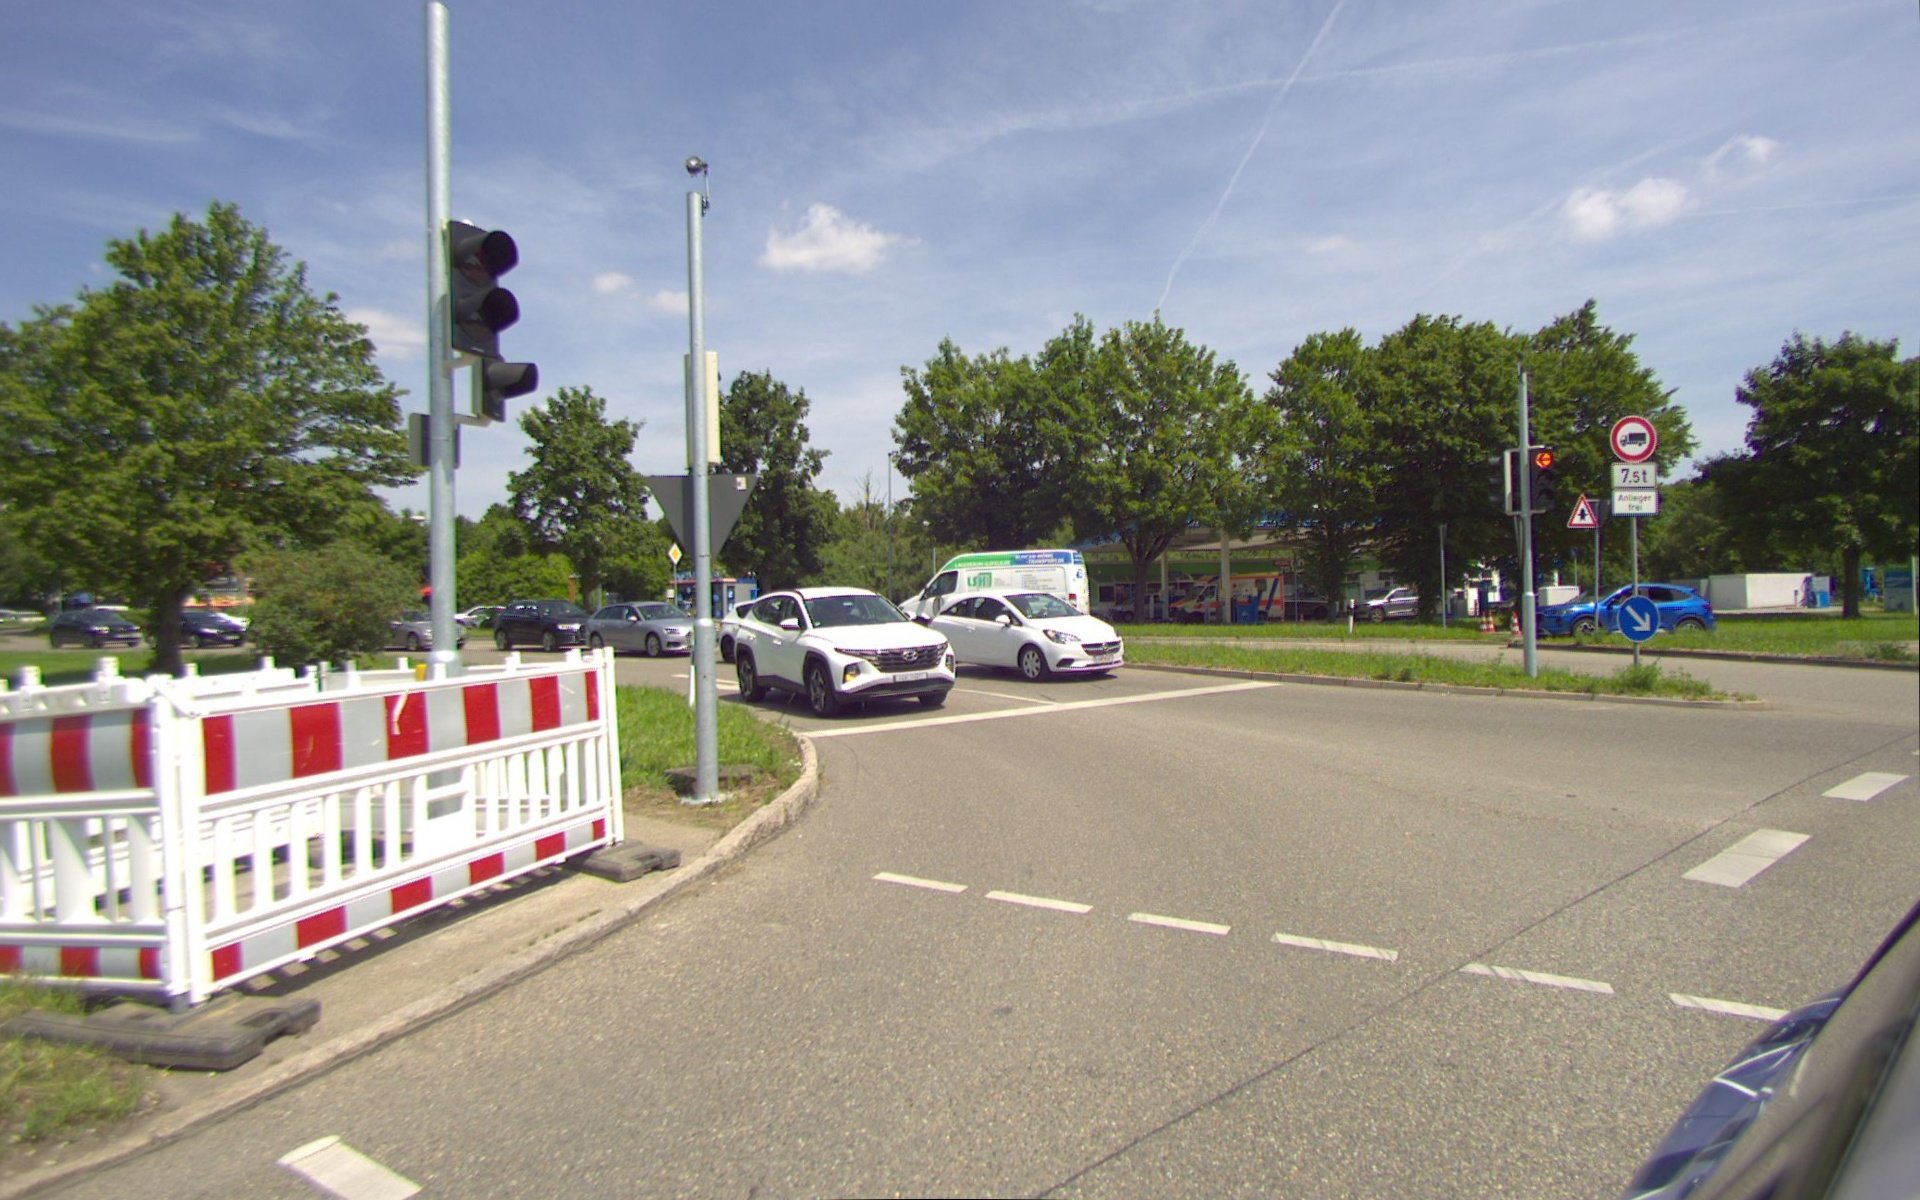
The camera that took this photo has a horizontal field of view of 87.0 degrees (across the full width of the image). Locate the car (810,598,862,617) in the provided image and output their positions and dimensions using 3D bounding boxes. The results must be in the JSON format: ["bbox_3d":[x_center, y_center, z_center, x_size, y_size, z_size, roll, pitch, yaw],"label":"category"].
[{"bbox_3d":[-9.529,0.570,77.826,3.812,1.397,1.708,-1,0,33],"label":"car"}]

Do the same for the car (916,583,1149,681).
[{"bbox_3d":[1.138,0.481,17.467,1.795,1.436,3.969,-2,2,-38],"label":"car"}]

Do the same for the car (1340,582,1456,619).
[{"bbox_3d":[21.500,0.017,49.773,4.841,1.623,2.042,-1,1,-5],"label":"car"}]

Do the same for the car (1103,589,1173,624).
[{"bbox_3d":[10.772,0.374,61.287,3.783,2.039,1.715,-1,1,-12],"label":"car"}]

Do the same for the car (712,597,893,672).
[{"bbox_3d":[-3.534,0.683,22.246,4.091,1.436,1.774,0,2,43],"label":"car"}]

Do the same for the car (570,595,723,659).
[{"bbox_3d":[-8.515,0.709,27.286,4.541,1.529,1.775,-2,1,41],"label":"car"}]

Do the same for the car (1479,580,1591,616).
[{"bbox_3d":[28.716,-0.123,50.615,4.537,1.641,2.003,-1,1,-5],"label":"car"}]

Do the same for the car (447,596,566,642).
[{"bbox_3d":[-18.358,0.751,40.951,4.474,1.713,1.853,-1,2,23],"label":"car"}]

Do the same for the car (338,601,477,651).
[{"bbox_3d":[-18.532,0.870,33.911,4.514,1.529,1.785,-1,1,26],"label":"car"}]

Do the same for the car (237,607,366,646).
[{"bbox_3d":[-24.293,0.982,37.323,4.509,1.289,1.788,-1,1,23],"label":"car"}]

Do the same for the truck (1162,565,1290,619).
[{"bbox_3d":[13.915,-0.419,53.108,6.025,2.651,2.265,-1,0,-6],"label":"truck"}]

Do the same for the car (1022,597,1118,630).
[{"bbox_3d":[5.067,0.608,46.584,4.248,1.380,1.756,-1,1,8],"label":"car"}]

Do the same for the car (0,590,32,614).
[{"bbox_3d":[-75.655,0.196,80.161,3.957,1.847,1.808,-1,1,25],"label":"car"}]

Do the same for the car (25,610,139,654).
[{"bbox_3d":[-37.309,1.344,43.026,4.242,1.719,1.985,-1,1,23],"label":"car"}]

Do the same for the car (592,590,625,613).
[{"bbox_3d":[-29.764,0.110,85.651,1.803,1.860,4.003,-1,1,-32],"label":"car"}]

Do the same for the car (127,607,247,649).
[{"bbox_3d":[-30.490,1.107,39.940,4.179,1.529,1.789,-1,1,20],"label":"car"}]

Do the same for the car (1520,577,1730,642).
[{"bbox_3d":[17.398,0.238,26.614,4.304,1.578,1.785,-1,0,-1],"label":"car"}]

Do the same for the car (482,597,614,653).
[{"bbox_3d":[-12.768,0.793,31.232,4.538,1.529,1.776,-2,0,39],"label":"car"}]

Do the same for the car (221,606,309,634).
[{"bbox_3d":[-44.238,1.258,64.576,4.411,1.578,1.879,-2,1,-29],"label":"car"}]

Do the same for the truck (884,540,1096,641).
[{"bbox_3d":[0.878,-0.285,29.712,5.867,2.771,2.060,0,1,20],"label":"truck"}]

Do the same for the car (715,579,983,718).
[{"bbox_3d":[-1.793,0.609,14.598,1.960,1.627,4.643,-2,0,-32],"label":"car"}]
